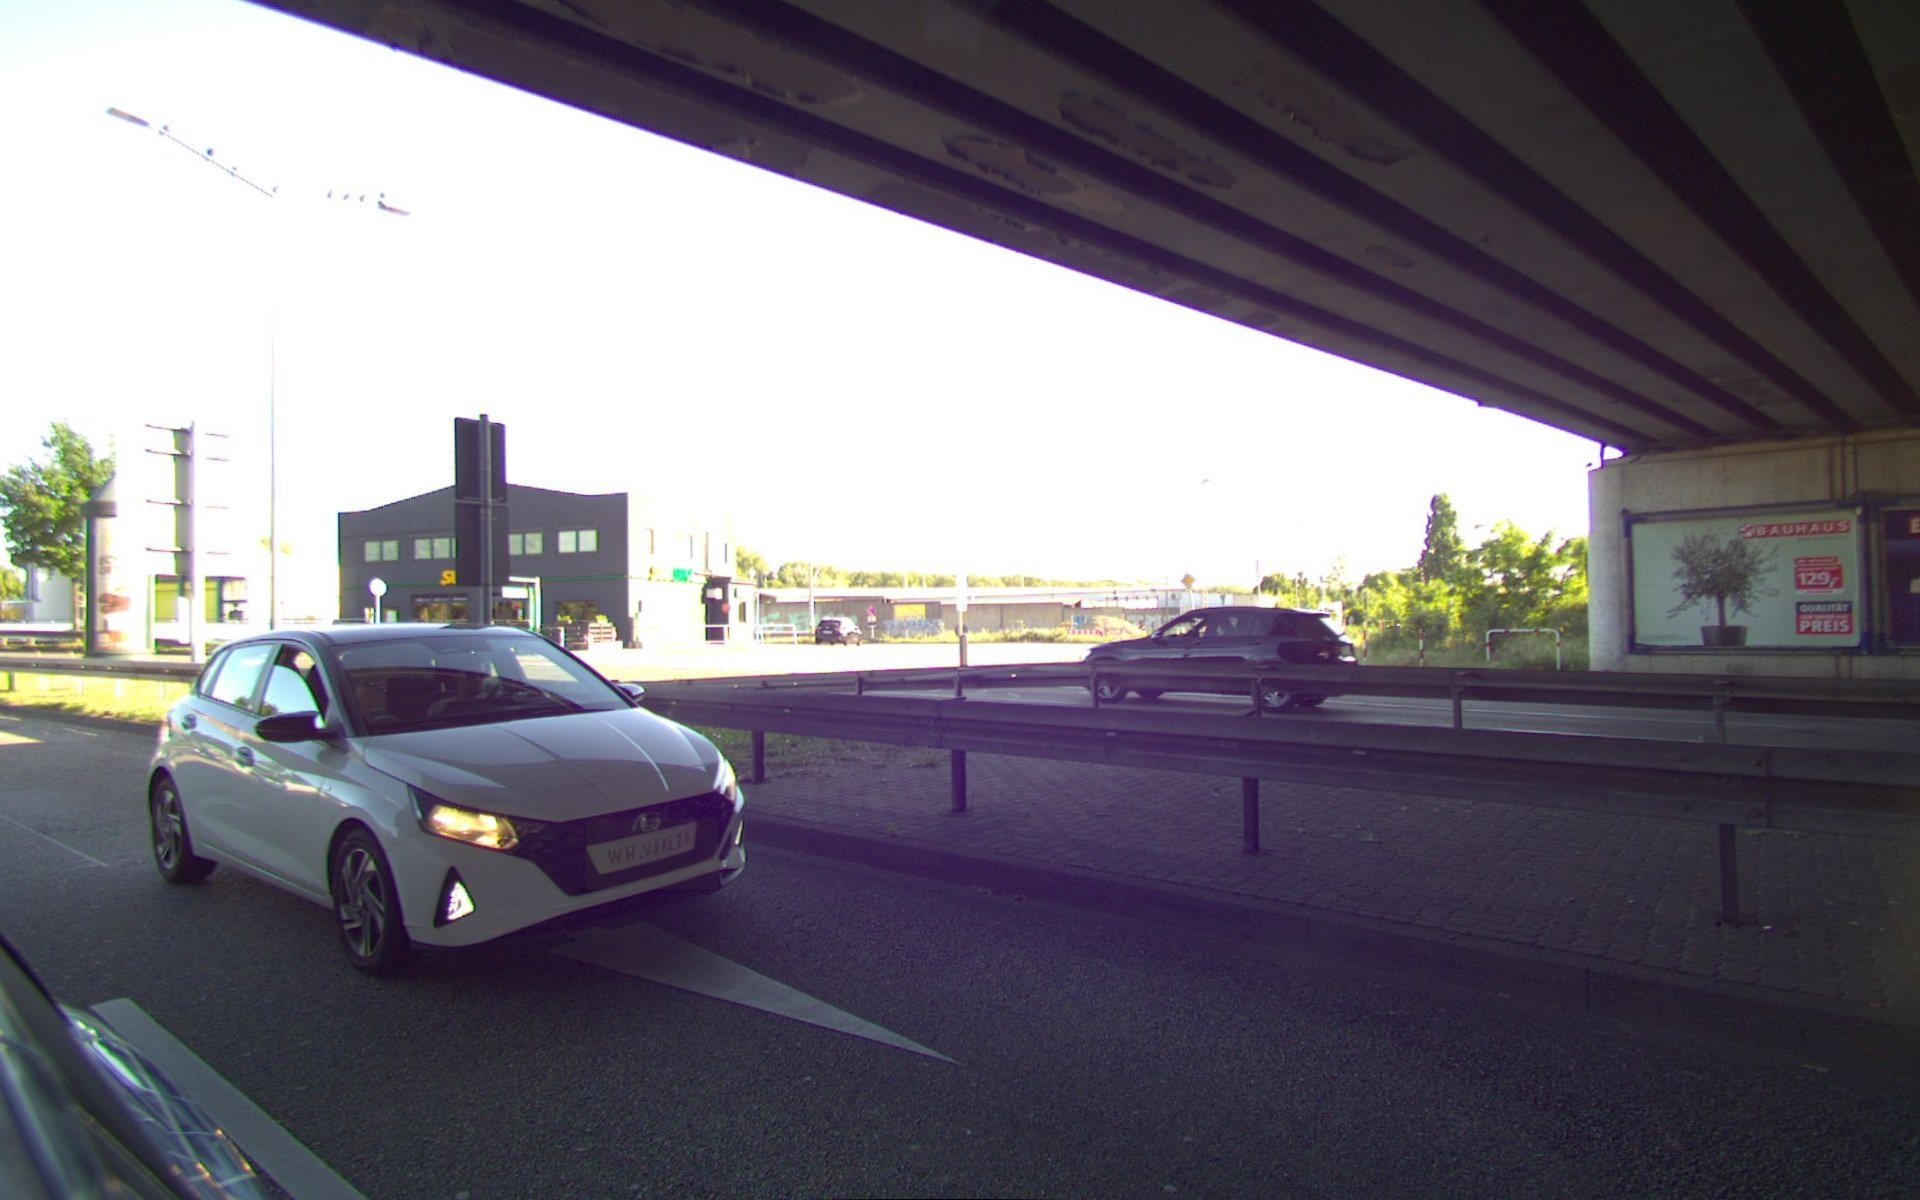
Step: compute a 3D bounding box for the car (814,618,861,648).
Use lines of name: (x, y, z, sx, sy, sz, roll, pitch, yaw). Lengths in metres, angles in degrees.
car: (-6.636, 1.785, 54.978, 1.858, 1.453, 3.996, -1, 0, 3)

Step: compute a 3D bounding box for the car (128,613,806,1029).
car: (-2.796, 0.811, 5.385, 3.865, 1.414, 1.716, -1, -1, 38)

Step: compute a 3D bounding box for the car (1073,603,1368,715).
car: (4.221, 0.910, 16.658, 4.353, 1.629, 1.836, -1, -2, 34)
